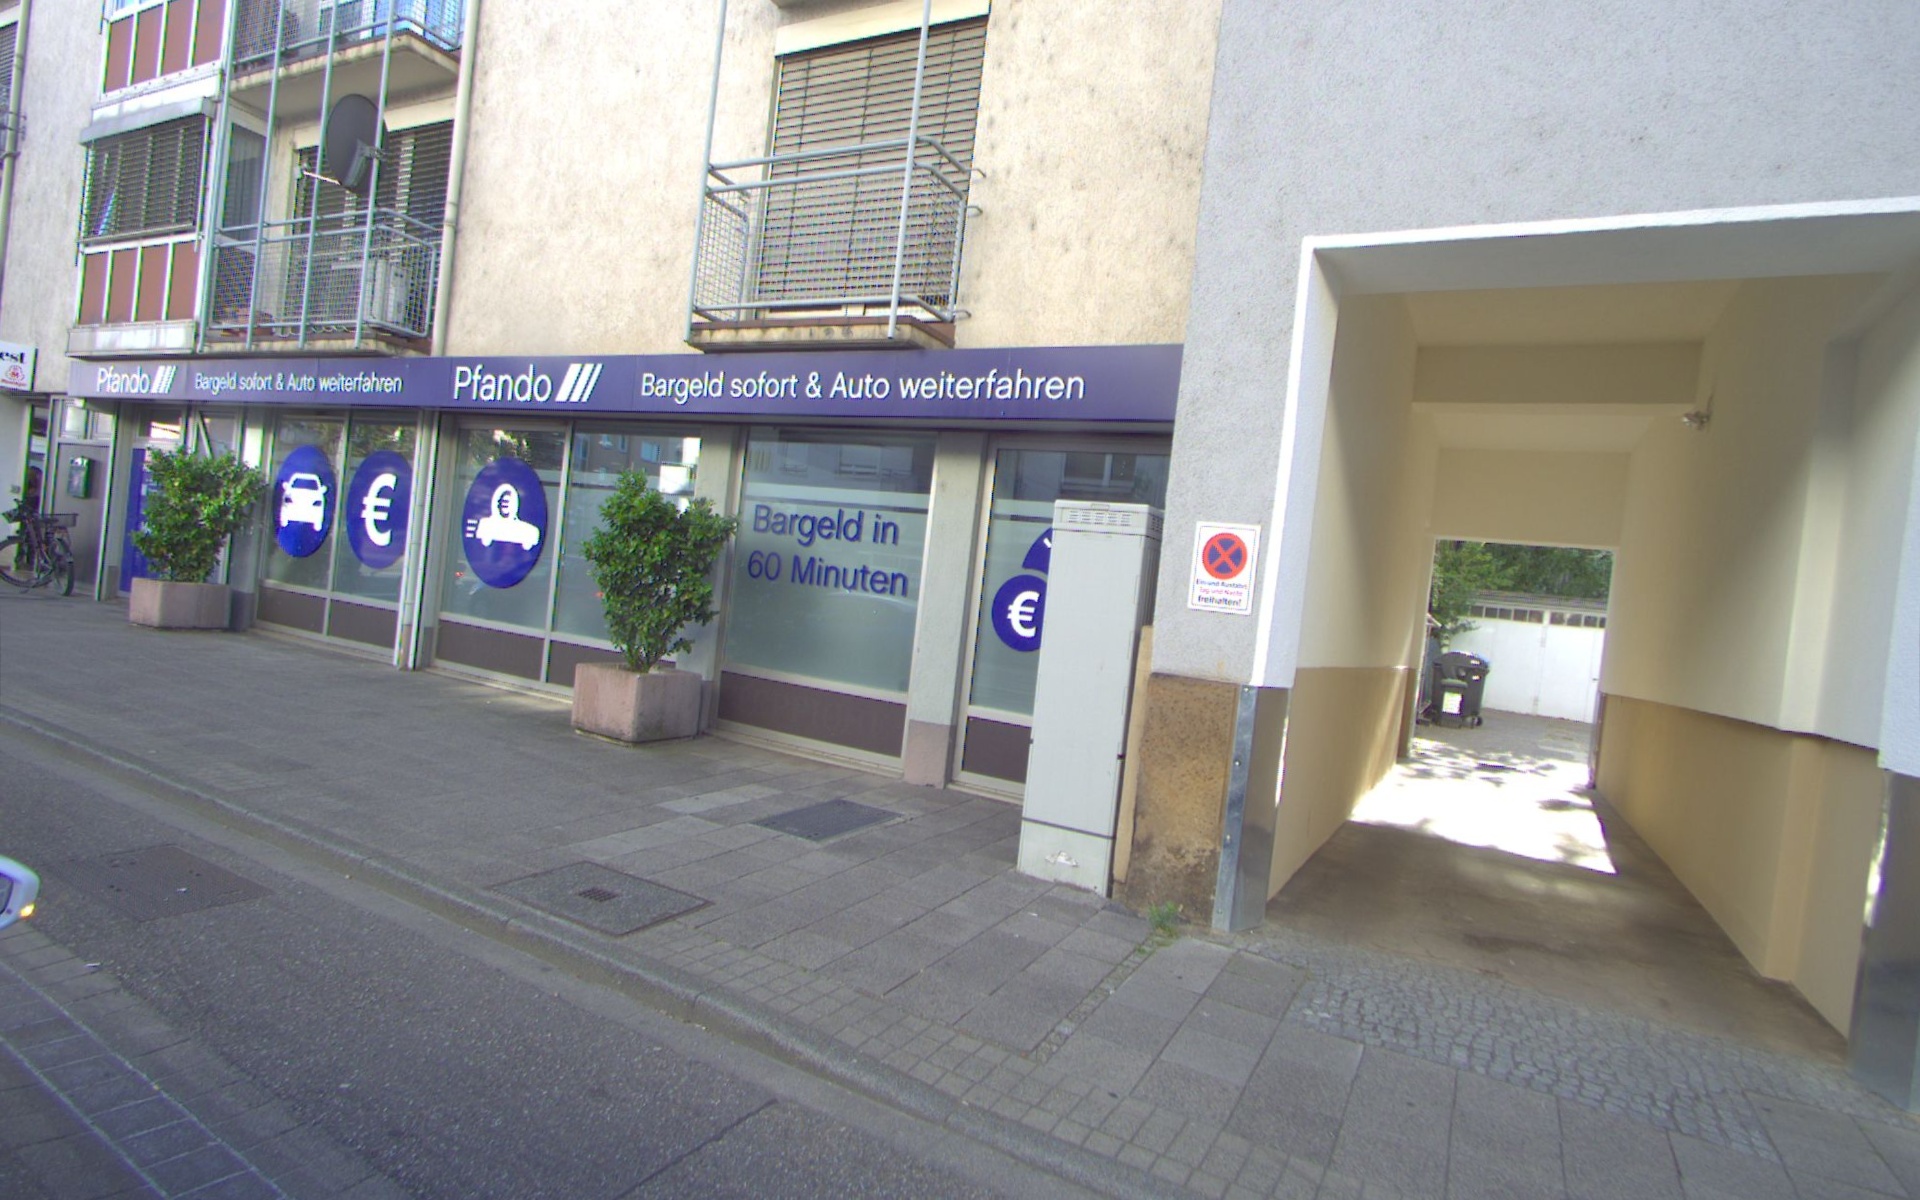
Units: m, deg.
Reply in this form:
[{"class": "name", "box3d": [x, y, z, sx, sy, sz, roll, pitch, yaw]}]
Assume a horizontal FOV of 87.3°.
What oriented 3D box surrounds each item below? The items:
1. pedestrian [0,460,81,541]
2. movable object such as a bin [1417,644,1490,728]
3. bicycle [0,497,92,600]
[{"class": "pedestrian", "box3d": [-14.158, -1.515, 15.457, 0.667, 1.102, 0.624, 7, 2, -5]}, {"class": "movable object such as a bin", "box3d": [9.995, 1.746, 20.355, 1.092, 1.511, 1.329, 6, -2, 30]}, {"class": "bicycle", "box3d": [-11.869, -0.676, 12.874, 1.747, 1.176, 0.497, 6, 0, 29]}]
